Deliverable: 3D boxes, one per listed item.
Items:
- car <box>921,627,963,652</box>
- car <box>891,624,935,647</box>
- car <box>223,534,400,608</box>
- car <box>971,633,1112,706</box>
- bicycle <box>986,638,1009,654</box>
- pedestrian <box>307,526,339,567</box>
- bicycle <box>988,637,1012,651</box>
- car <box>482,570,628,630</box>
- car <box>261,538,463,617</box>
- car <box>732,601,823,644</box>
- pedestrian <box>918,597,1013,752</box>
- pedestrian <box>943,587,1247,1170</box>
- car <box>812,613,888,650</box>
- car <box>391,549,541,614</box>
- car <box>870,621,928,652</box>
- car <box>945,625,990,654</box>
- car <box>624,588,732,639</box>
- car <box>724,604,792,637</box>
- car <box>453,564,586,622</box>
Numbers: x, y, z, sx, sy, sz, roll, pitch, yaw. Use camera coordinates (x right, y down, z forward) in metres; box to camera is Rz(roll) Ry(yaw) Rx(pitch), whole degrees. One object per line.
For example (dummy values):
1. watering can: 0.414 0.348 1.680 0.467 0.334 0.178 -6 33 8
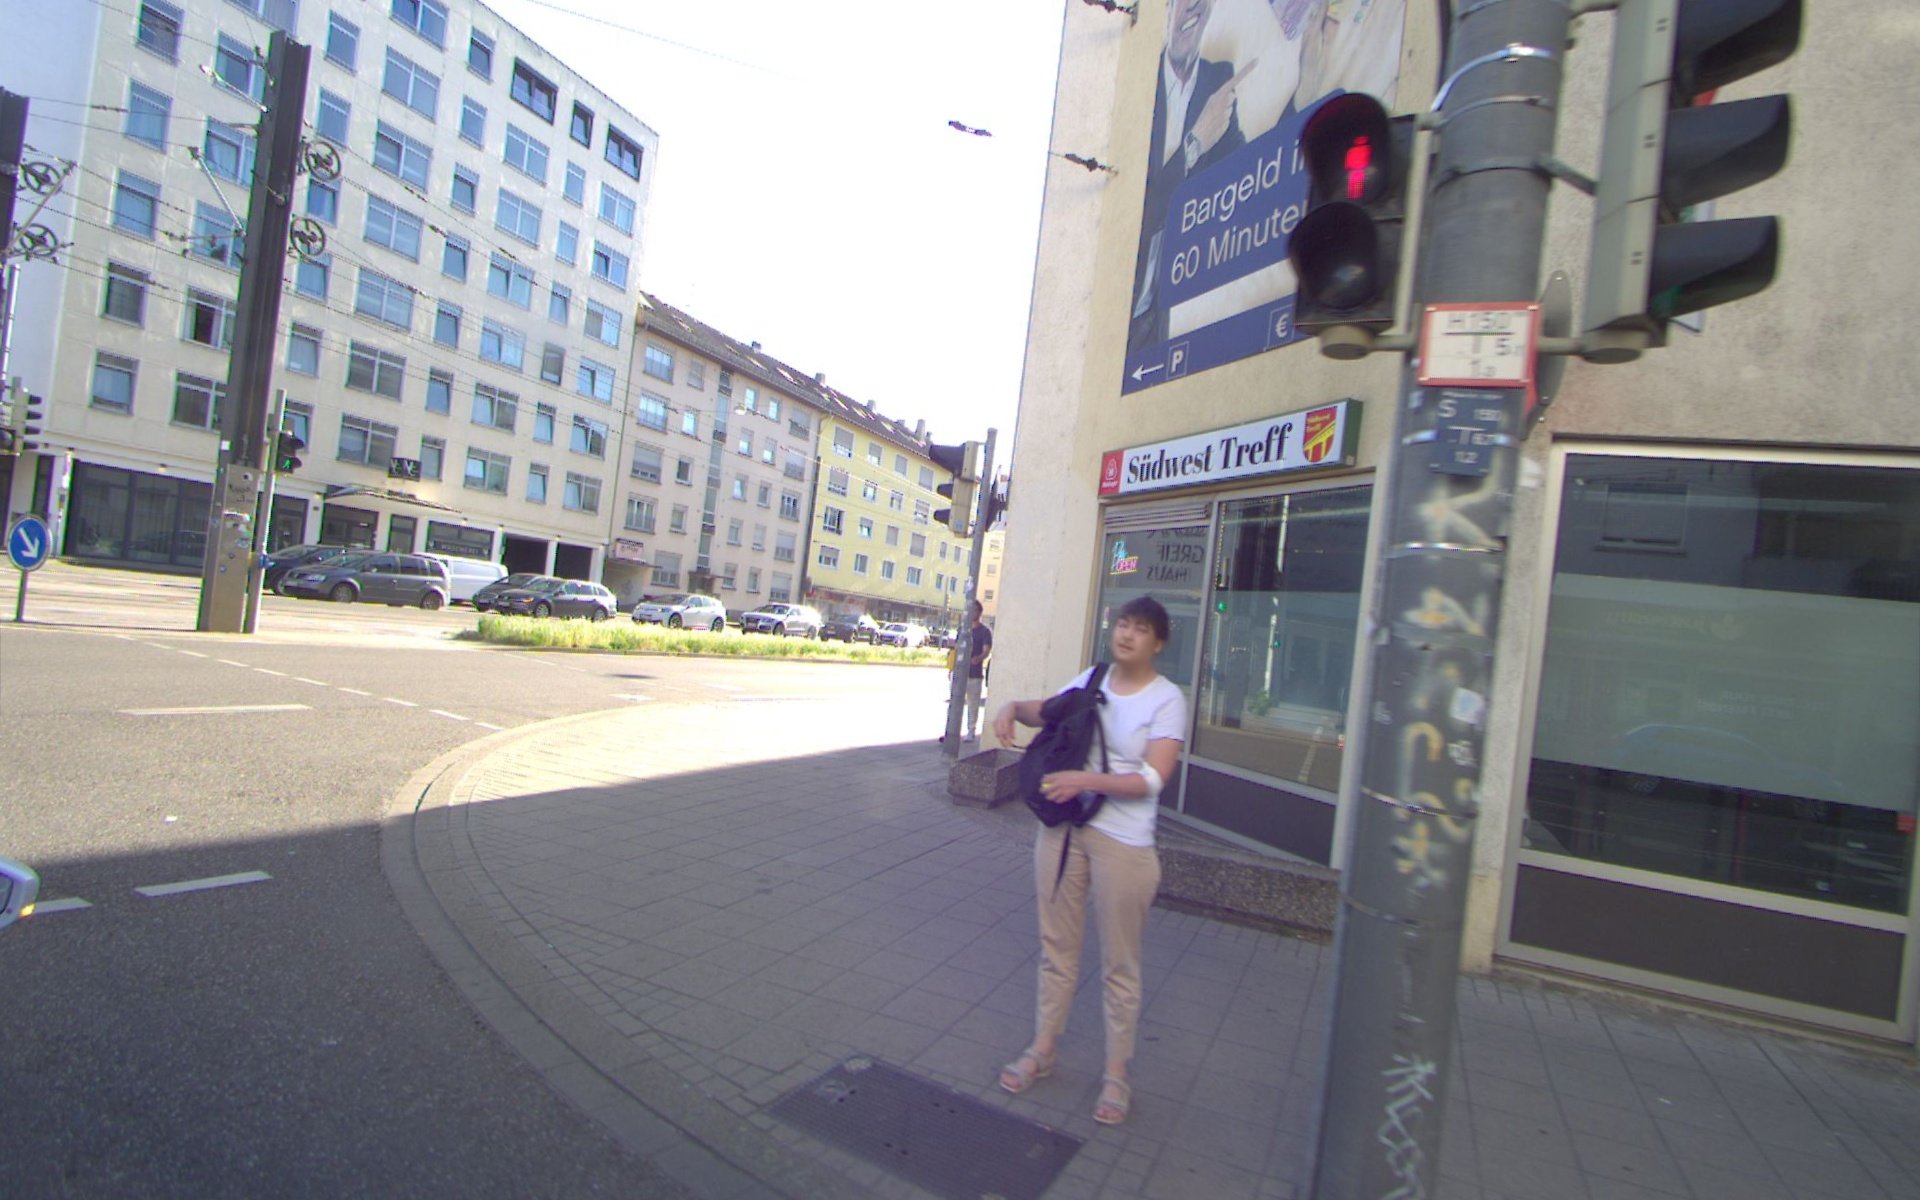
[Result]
1. car: -1.452 3.271 82.853 1.739 1.503 3.918 6 -4 27
2. car: -3.603 2.787 78.359 1.674 1.442 3.766 6 -3 27
3. car: -19.288 -0.809 30.113 1.762 1.593 4.048 6 -3 23
4. car: 2.078 1.688 24.044 1.856 1.414 4.742 4 -3 24
5. bicycle: 3.409 4.255 92.374 1.935 1.219 0.697 8 -3 -3
6. pedestrian: -23.827 -2.005 37.646 0.672 1.391 0.529 7 -2 3
7. bicycle: 3.711 4.150 94.164 2.041 1.033 0.805 7 -3 11
8. car: -13.912 0.040 34.829 1.792 1.508 4.542 6 -3 26
9. car: -16.649 -0.573 28.264 1.902 1.565 4.453 6 -3 26
10. car: -8.400 1.090 46.855 1.837 1.595 4.630 4 -2 23
11. pedestrian: 0.087 0.904 12.333 0.675 1.763 1.042 5 -1 22
12. pedestrian: 0.427 0.805 3.306 0.536 1.645 0.724 1 3 -43
13. car: -5.800 1.699 53.564 1.933 1.497 4.572 6 -3 22
14. car: -20.076 -0.705 41.162 1.913 1.891 5.327 9 -1 24
15. car: -3.593 2.206 59.912 1.795 1.462 4.289 6 -3 20
16. car: 0.703 3.486 88.700 1.973 2.130 5.307 6 -2 23
17. car: -11.183 0.566 40.237 1.811 1.532 4.246 6 -3 22
18. car: -11.975 1.242 59.834 1.750 1.451 4.055 6 -3 25
19. car: -16.476 -0.205 37.864 1.953 1.593 4.325 6 -3 23
